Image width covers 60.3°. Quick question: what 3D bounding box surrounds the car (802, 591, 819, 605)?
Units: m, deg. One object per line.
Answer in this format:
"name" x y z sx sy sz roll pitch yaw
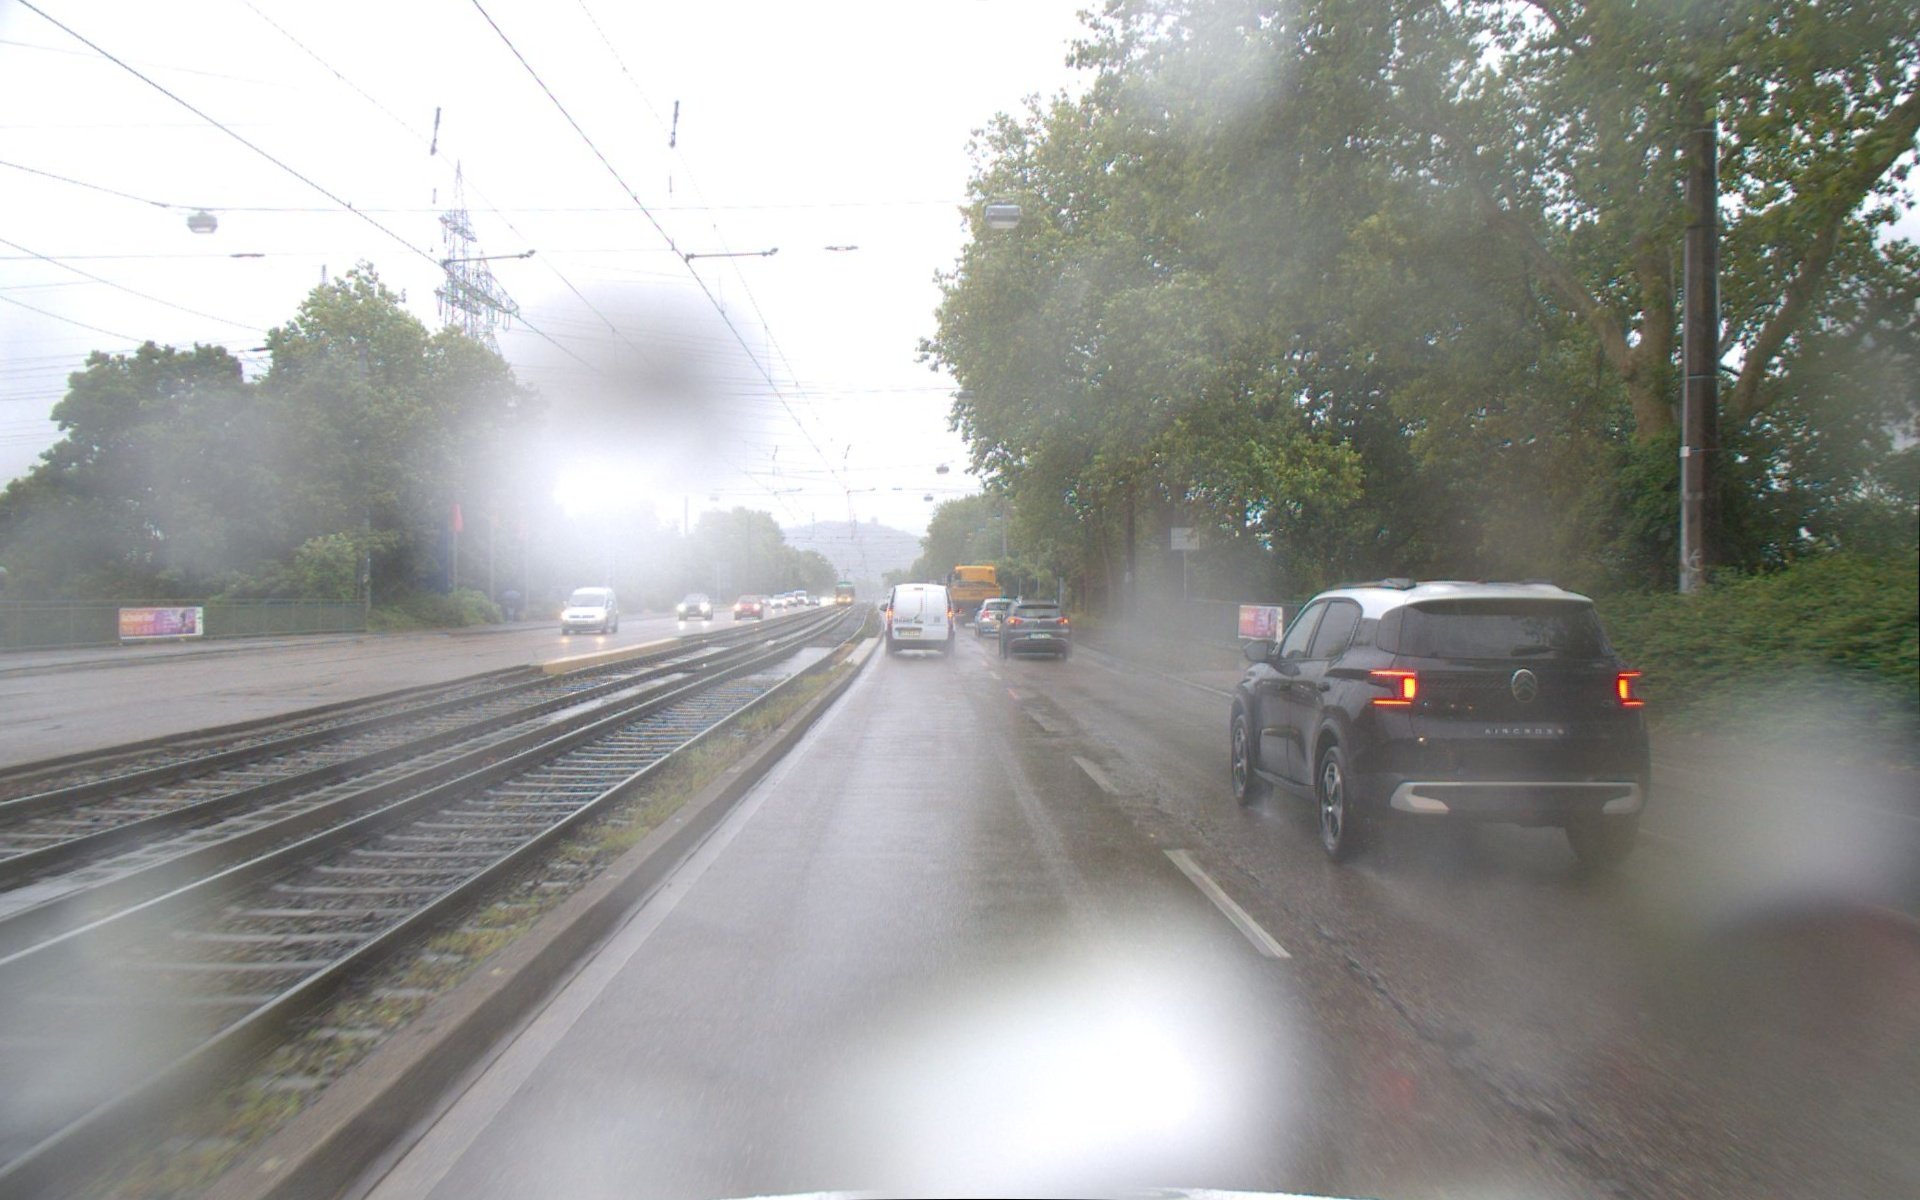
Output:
"car" -21.587 -0.330 239.070 1.953 1.937 4.000 1 1 0

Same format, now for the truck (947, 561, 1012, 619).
"truck" 0.925 -0.535 83.789 3.050 2.821 6.327 1 1 -2

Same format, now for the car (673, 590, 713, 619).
"car" -17.138 0.259 106.436 1.953 1.847 4.000 0 0 0

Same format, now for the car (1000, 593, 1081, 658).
"car" 1.983 0.606 41.661 1.781 1.438 3.778 1 1 -1

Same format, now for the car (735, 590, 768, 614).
"car" -13.355 0.091 106.320 1.623 1.512 4.013 0 0 0

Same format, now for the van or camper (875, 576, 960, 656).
"van or camper" -1.127 0.369 42.098 1.954 1.815 3.998 2 2 -4

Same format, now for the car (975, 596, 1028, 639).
"car" 1.507 0.611 61.363 1.781 1.438 3.778 1 1 -1

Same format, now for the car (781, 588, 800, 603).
"car" -22.073 -0.624 215.696 1.953 1.937 4.000 1 1 0

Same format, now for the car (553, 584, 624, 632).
"car" -14.954 0.293 66.858 1.953 1.847 4.657 0 0 -2

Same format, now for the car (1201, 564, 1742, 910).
"car" 2.978 0.658 10.860 1.861 1.746 4.723 1 1 -3
